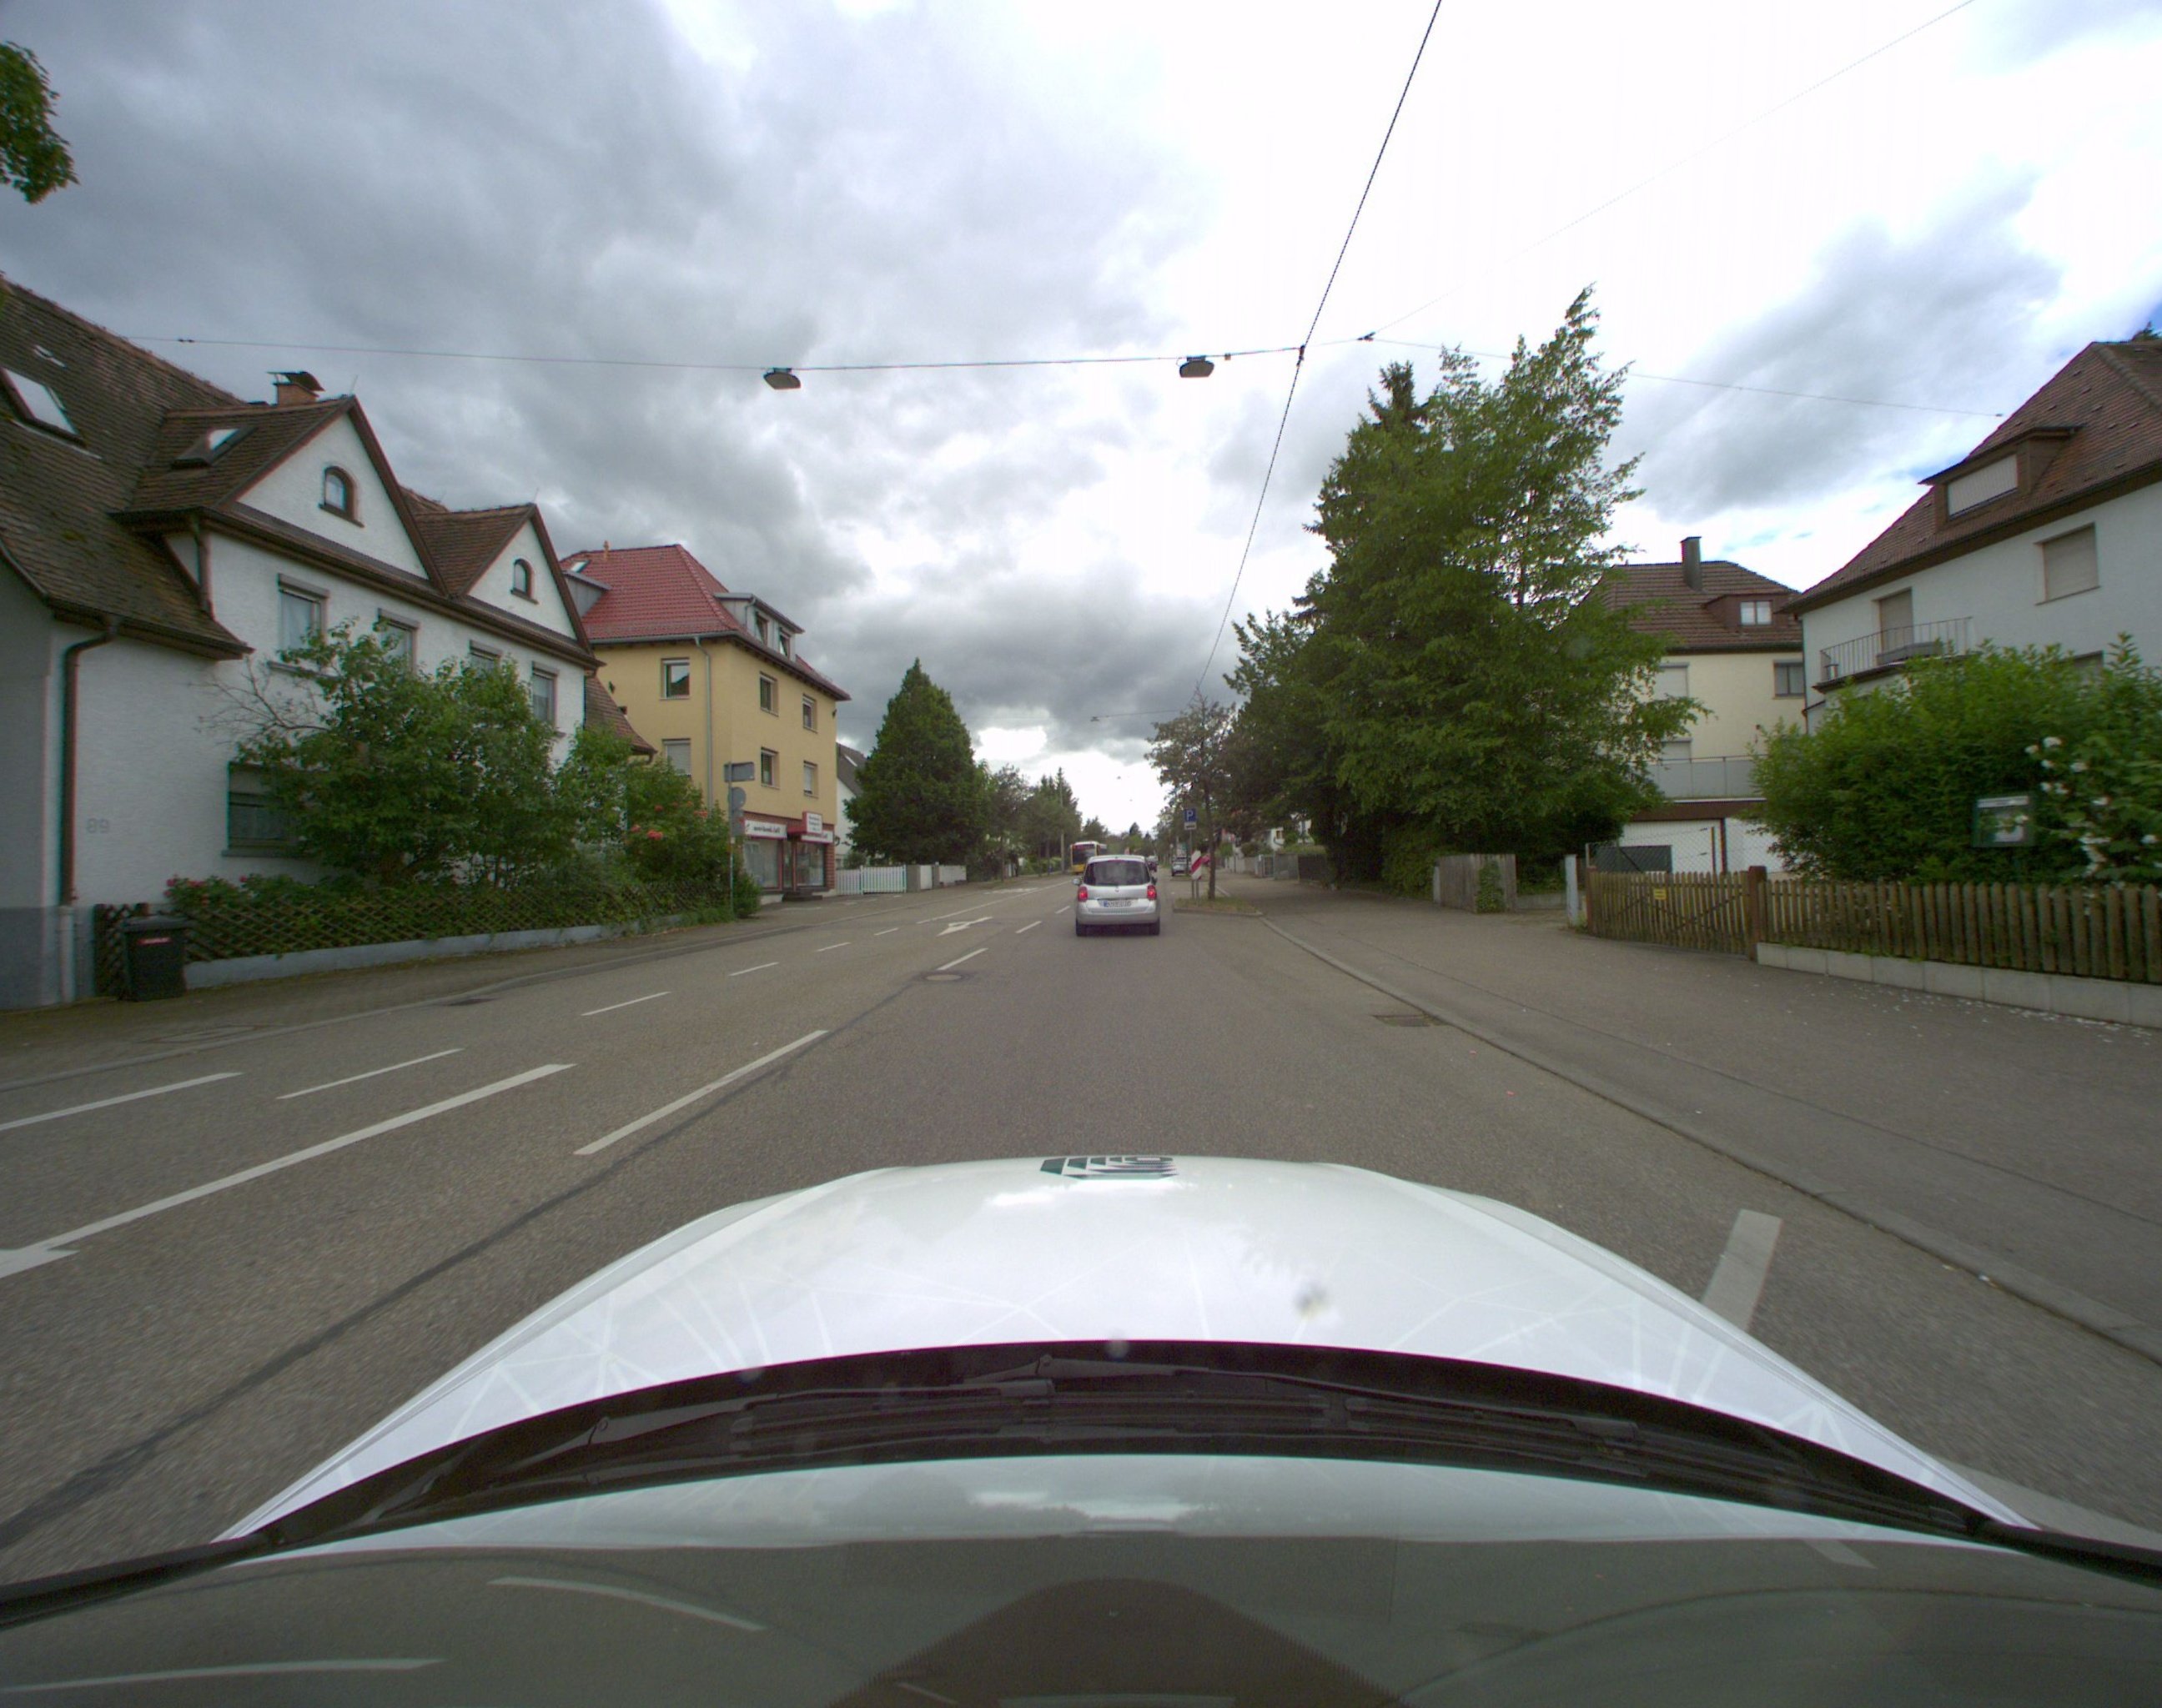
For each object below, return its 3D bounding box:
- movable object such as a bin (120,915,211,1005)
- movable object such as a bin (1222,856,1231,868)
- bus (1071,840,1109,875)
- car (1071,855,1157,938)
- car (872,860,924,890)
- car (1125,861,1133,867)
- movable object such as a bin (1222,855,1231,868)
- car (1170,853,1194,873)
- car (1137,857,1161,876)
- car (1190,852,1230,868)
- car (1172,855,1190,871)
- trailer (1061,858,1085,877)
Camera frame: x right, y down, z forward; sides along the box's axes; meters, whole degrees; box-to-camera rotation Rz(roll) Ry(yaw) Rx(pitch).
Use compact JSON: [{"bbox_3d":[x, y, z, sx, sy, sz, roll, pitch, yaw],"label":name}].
[{"bbox_3d":[-11.940,1.354,10.621,0.711,1.019,0.727,2,2,37],"label":"movable object such as a bin"},{"bbox_3d":[13.467,0.723,75.326,0.772,1.104,0.692,-2,-1,4],"label":"movable object such as a bin"},{"bbox_3d":[0.986,0.355,80.893,2.619,3.086,12.087,-3,-1,5],"label":"bus"},{"bbox_3d":[0.759,0.854,17.357,1.623,1.557,4.004,0,-1,4],"label":"car"},{"bbox_3d":[-10.716,1.202,48.020,1.799,1.564,4.620,-4,0,2],"label":"car"},{"bbox_3d":[12.872,2.683,219.630,1.899,1.618,3.999,-1,-2,0],"label":"car"},{"bbox_3d":[13.574,0.702,76.079,0.772,1.104,0.692,-2,-1,4],"label":"movable object such as a bin"},{"bbox_3d":[7.272,0.693,58.866,1.642,1.382,4.006,-1,-2,6],"label":"car"},{"bbox_3d":[6.487,1.156,77.506,1.817,1.676,3.586,-2,-1,12],"label":"car"},{"bbox_3d":[14.409,0.656,90.928,3.978,1.496,1.808,-5,-1,-3],"label":"car"},{"bbox_3d":[9.513,0.840,77.486,1.653,1.393,3.675,-2,0,8],"label":"car"},{"bbox_3d":[-0.895,1.539,93.490,2.302,2.087,5.878,0,-1,4],"label":"trailer"}]
